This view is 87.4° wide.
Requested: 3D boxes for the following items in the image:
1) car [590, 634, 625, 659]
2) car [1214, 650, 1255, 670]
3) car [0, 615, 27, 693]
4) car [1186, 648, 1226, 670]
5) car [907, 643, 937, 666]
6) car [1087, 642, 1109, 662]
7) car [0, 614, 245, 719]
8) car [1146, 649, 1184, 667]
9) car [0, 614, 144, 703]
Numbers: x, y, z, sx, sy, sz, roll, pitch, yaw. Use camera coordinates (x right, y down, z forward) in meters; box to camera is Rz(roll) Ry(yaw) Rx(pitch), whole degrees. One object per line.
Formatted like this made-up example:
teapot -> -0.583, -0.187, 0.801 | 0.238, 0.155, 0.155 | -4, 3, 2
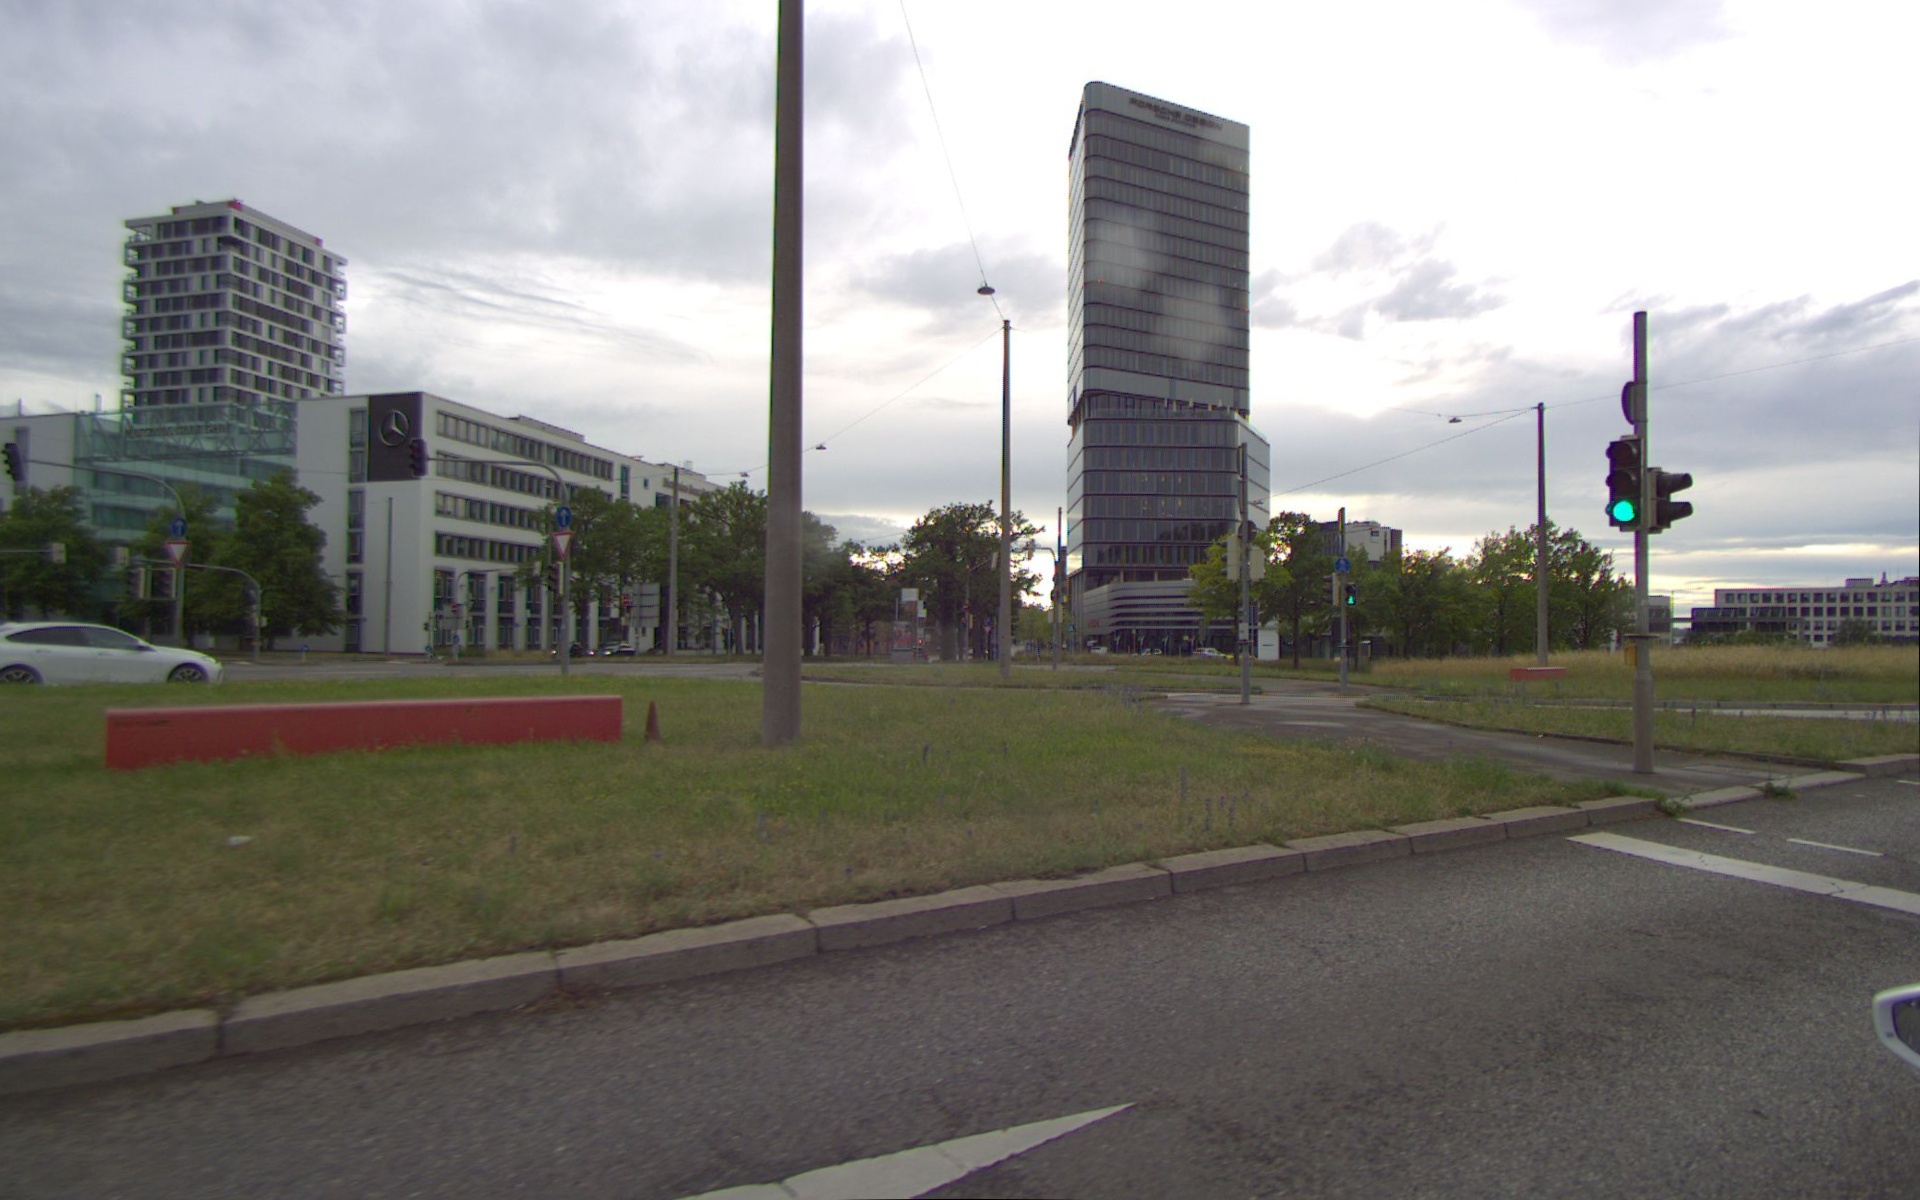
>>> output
car -> -27.278, 3.604, 77.892 | 1.865, 1.698, 3.708 | 2, 0, -8
car -> 30.237, 6.603, 110.629 | 3.931, 2.040, 1.995 | 2, 0, -13
car -> -22.894, 1.162, 21.018 | 1.961, 1.705, 4.520 | 2, 0, 21
car -> 24.023, 5.728, 97.915 | 3.973, 2.040, 1.974 | 2, 0, -44
car -> -2.953, 4.143, 77.130 | 1.865, 1.698, 3.709 | 1, -2, -8
car -> 14.667, 5.474, 106.849 | 1.960, 1.873, 4.001 | 2, 0, 2
car -> -16.414, 1.148, 18.823 | 1.962, 1.705, 4.518 | 2, 0, 23
car -> 24.297, 6.877, 118.883 | 3.937, 2.040, 1.992 | 2, 0, -18
car -> -19.784, 1.170, 20.453 | 1.961, 1.705, 4.521 | 2, 0, 20
